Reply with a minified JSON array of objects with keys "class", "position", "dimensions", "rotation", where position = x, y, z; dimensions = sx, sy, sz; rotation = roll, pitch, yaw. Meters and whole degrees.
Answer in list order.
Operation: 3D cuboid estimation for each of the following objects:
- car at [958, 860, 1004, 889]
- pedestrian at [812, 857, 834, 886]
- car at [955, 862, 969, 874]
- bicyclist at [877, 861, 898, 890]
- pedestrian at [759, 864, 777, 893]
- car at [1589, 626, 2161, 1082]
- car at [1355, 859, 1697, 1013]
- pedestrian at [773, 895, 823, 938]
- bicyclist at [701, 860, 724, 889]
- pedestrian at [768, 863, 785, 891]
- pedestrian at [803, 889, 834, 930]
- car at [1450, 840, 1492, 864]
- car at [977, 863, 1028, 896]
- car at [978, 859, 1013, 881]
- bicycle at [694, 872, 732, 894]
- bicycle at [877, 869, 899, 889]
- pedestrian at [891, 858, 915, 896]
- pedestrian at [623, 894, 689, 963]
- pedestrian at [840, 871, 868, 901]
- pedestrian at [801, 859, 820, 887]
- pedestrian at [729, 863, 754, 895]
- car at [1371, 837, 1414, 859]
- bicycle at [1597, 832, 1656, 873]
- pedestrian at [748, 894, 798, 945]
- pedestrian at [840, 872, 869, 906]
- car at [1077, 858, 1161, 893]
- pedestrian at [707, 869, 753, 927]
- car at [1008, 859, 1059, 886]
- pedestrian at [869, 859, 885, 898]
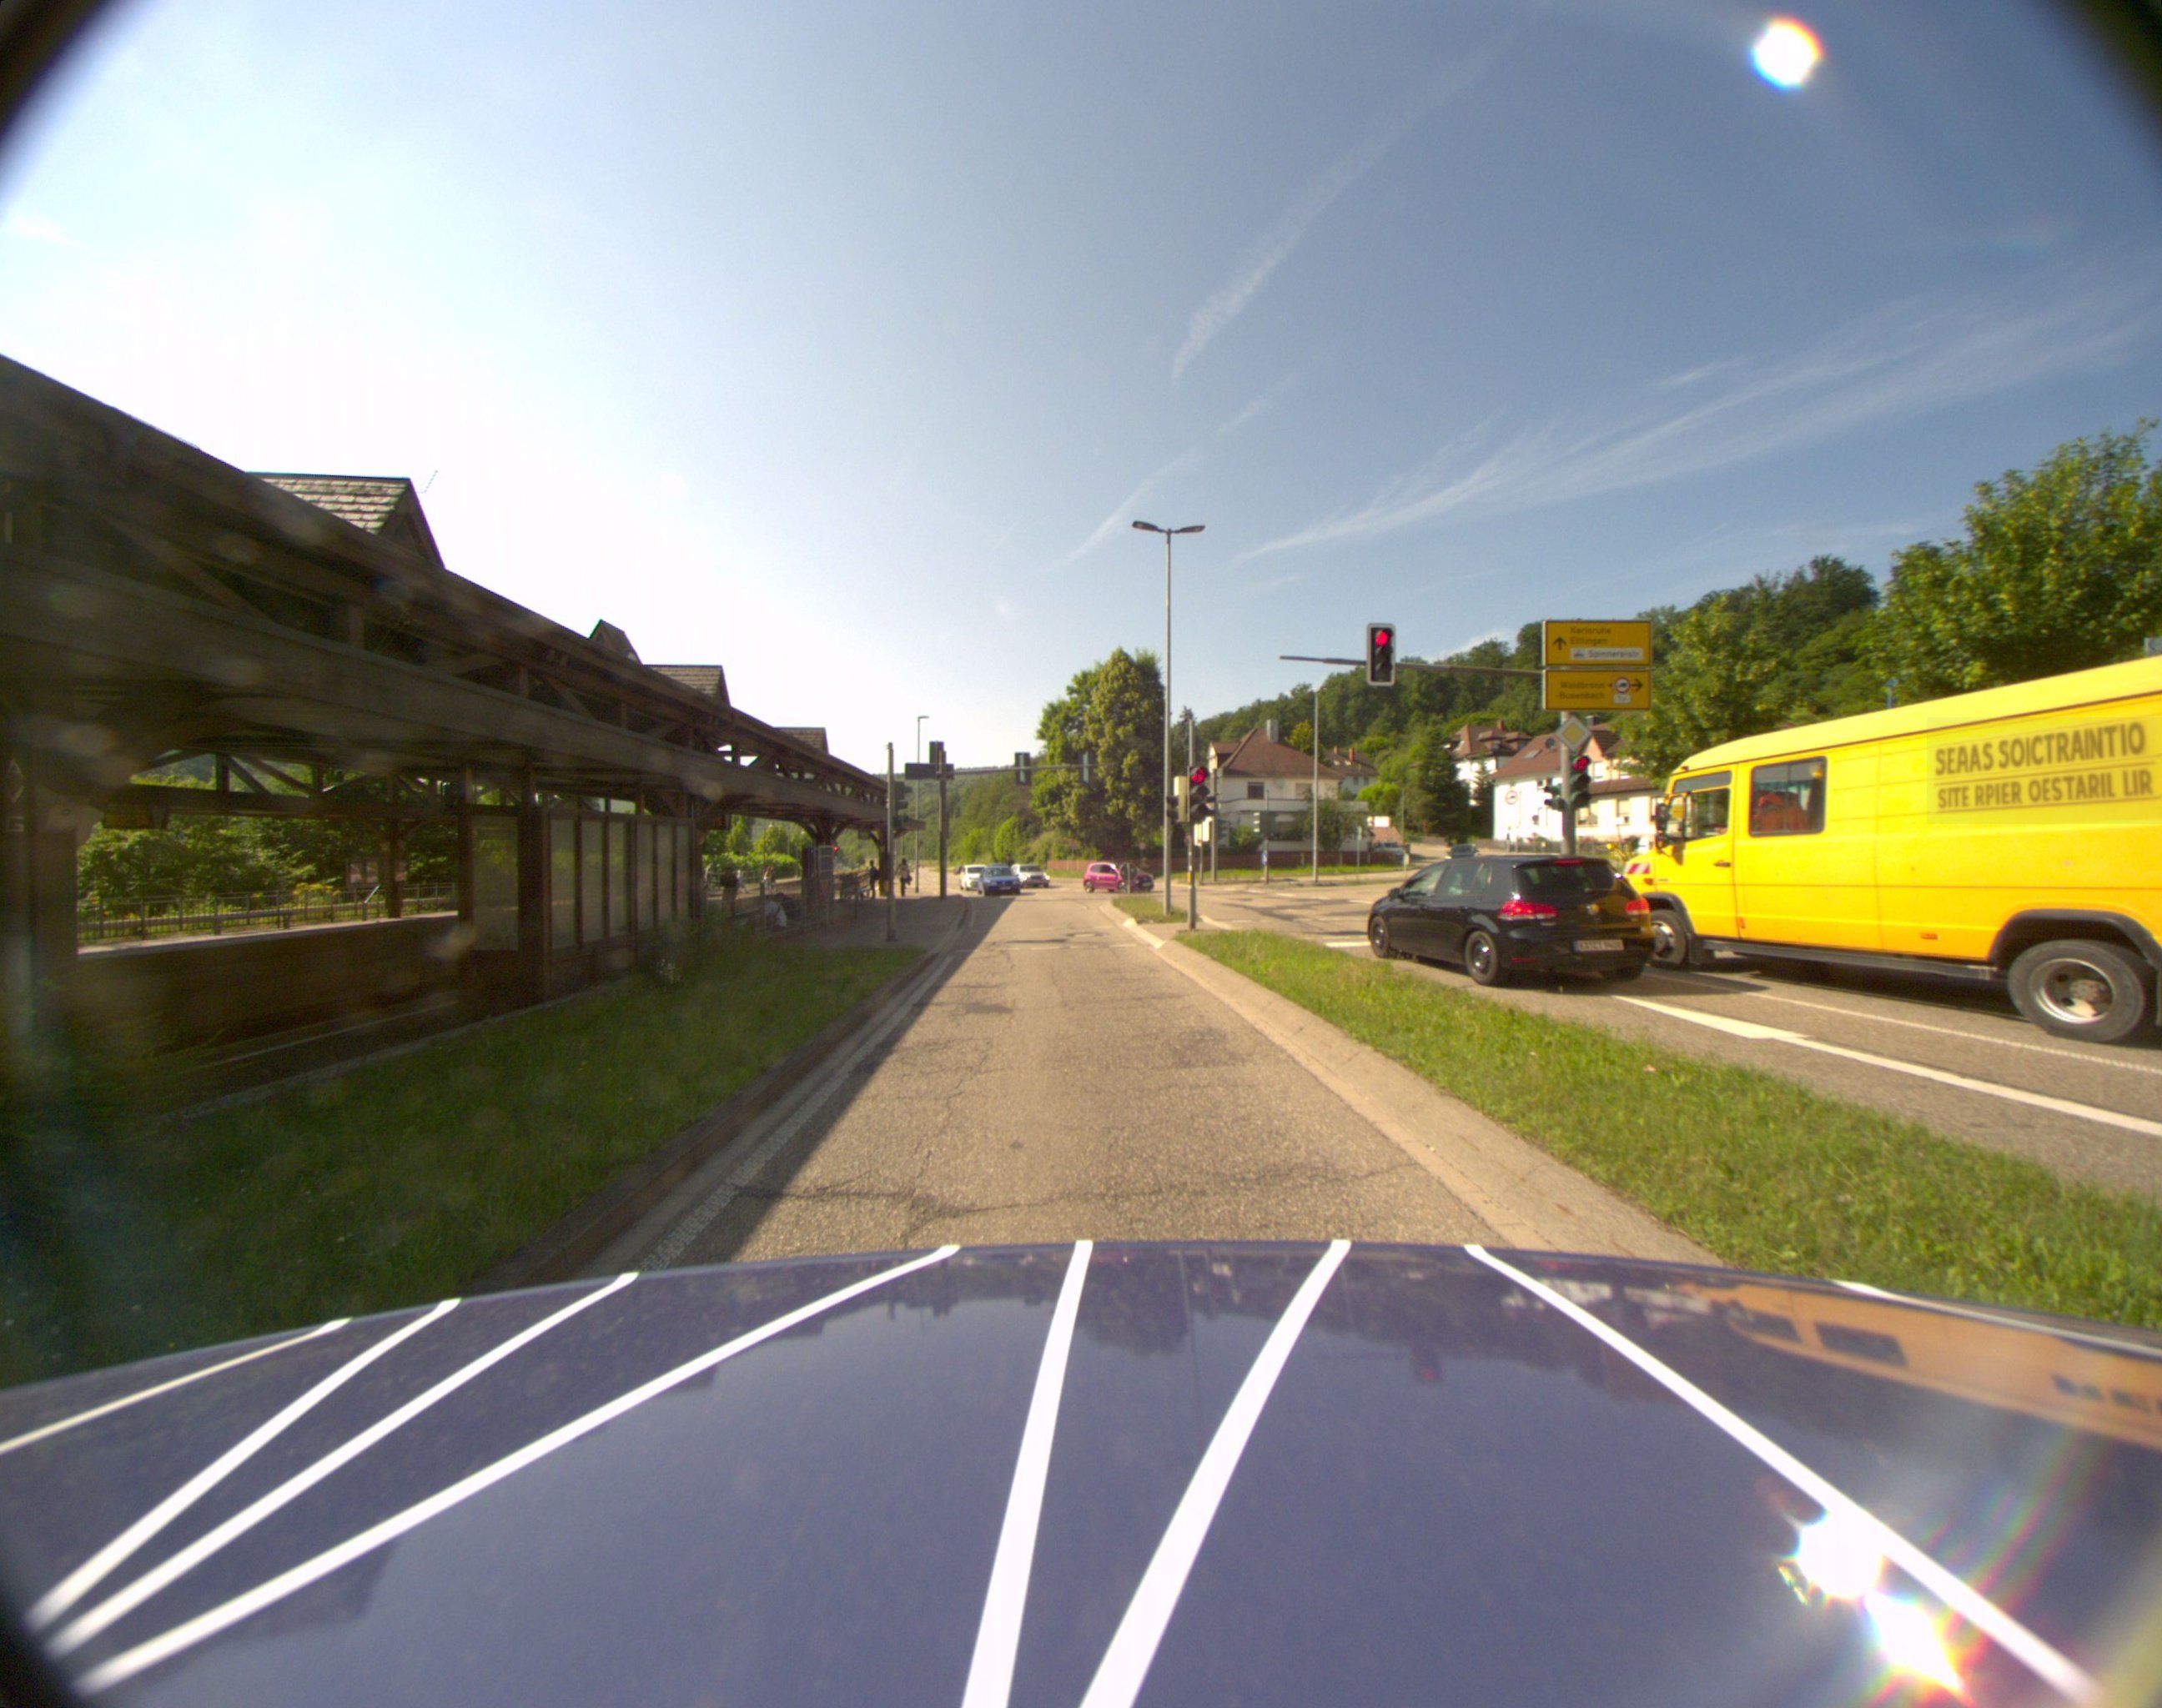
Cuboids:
[{"class":"car","position":[-6.009,1.192,45.292],"dimensions":[2.001,1.575,3.994],"rotation":[-3,0,-17]},{"class":"pedestrian","position":[-15.772,1.075,46.422],"dimensions":[0.902,1.674,0.824],"rotation":[-3,-1,27]},{"class":"car","position":[-18.363,2.176,117.448],"dimensions":[2.000,1.739,3.998],"rotation":[-3,-1,-9]},{"class":"bicyclist","position":[-10.821,1.225,42.419],"dimensions":[0.788,1.559,0.945],"rotation":[-3,1,-32]},{"class":"pedestrian","position":[-18.847,1.461,45.794],"dimensions":[0.905,1.674,0.821],"rotation":[-3,-1,-23]},{"class":"car","position":[8.223,-0.044,6.959],"dimensions":[2.474,2.993,6.464],"rotation":[-3,0,-3]},{"class":"car","position":[5.101,0.818,9.468],"dimensions":[1.750,1.454,4.042],"rotation":[-1,0,-3]},{"class":"pedestrian","position":[-6.413,1.414,17.274],"dimensions":[0.847,0.869,0.807],"rotation":[-3,-1,-7]},{"class":"bicyclist","position":[-22.606,1.259,46.592],"dimensions":[0.902,1.674,0.823],"rotation":[-3,-1,14]},{"class":"pedestrian","position":[-18.998,1.424,47.394],"dimensions":[0.558,1.674,0.685],"rotation":[-3,-1,21]},{"class":"pedestrian","position":[-6.542,1.380,18.938],"dimensions":[0.619,0.960,0.406],"rotation":[-3,-1,-7]},{"class":"car","position":[26.118,-0.143,50.790],"dimensions":[1.975,1.475,4.760],"rotation":[-3,-1,33]},{"class":"car","position":[-3.915,1.211,37.290],"dimensions":[1.867,1.474,4.297],"rotation":[-1,0,-14]},{"class":"car","position":[-6.611,1.242,58.472],"dimensions":[1.982,1.495,3.982],"rotation":[-2,-1,-17]},{"class":"bicycle","position":[-22.567,1.774,46.590],"dimensions":[2.016,1.201,0.711],"rotation":[-3,-1,14]},{"class":"bicycle","position":[-10.821,1.381,42.525],"dimensions":[0.605,1.049,1.809],"rotation":[-3,0,-33]},{"class":"pedestrian","position":[-8.389,1.068,35.942],"dimensions":[0.916,1.726,1.251],"rotation":[-3,-1,-9]},{"class":"pedestrian","position":[-7.321,1.267,13.115],"dimensions":[0.744,1.110,0.667],"rotation":[-3,-1,-7]},{"class":"pedestrian","position":[-9.085,1.266,30.443],"dimensions":[1.010,1.153,0.947],"rotation":[-2,1,-13]},{"class":"pedestrian","position":[-16.708,1.169,46.939],"dimensions":[0.868,1.674,0.822],"rotation":[-3,-1,-7]},{"class":"pedestrian","position":[-20.477,1.507,45.793],"dimensions":[0.990,1.831,1.073],"rotation":[-2,-1,0]},{"class":"car","position":[25.821,-0.505,63.135],"dimensions":[1.939,1.627,4.001],"rotation":[-3,-1,2]},{"class":"bicycle","position":[18.293,-0.031,25.510],"dimensions":[0.620,1.247,1.758],"rotation":[-6,-2,2]},{"class":"pedestrian","position":[-6.427,1.361,15.893],"dimensions":[0.744,0.976,0.769],"rotation":[-3,-1,-7]},{"class":"pedestrian","position":[-8.713,1.349,29.260],"dimensions":[0.994,1.228,0.596],"rotation":[-3,-1,-14]},{"class":"car","position":[1.735,1.018,35.747],"dimensions":[1.665,1.525,3.945],"rotation":[-1,-1,-39]},{"class":"pedestrian","position":[-9.605,1.194,20.801],"dimensions":[0.863,1.538,0.922],"rotation":[-1,-1,-5]},{"class":"car","position":[-2.980,1.142,46.513],"dimensions":[1.982,1.495,4.745],"rotation":[-2,-1,-17]},{"class":"pedestrian","position":[-8.890,1.069,33.135],"dimensions":[0.659,1.682,0.738],"rotation":[-1,0,-13]}]
